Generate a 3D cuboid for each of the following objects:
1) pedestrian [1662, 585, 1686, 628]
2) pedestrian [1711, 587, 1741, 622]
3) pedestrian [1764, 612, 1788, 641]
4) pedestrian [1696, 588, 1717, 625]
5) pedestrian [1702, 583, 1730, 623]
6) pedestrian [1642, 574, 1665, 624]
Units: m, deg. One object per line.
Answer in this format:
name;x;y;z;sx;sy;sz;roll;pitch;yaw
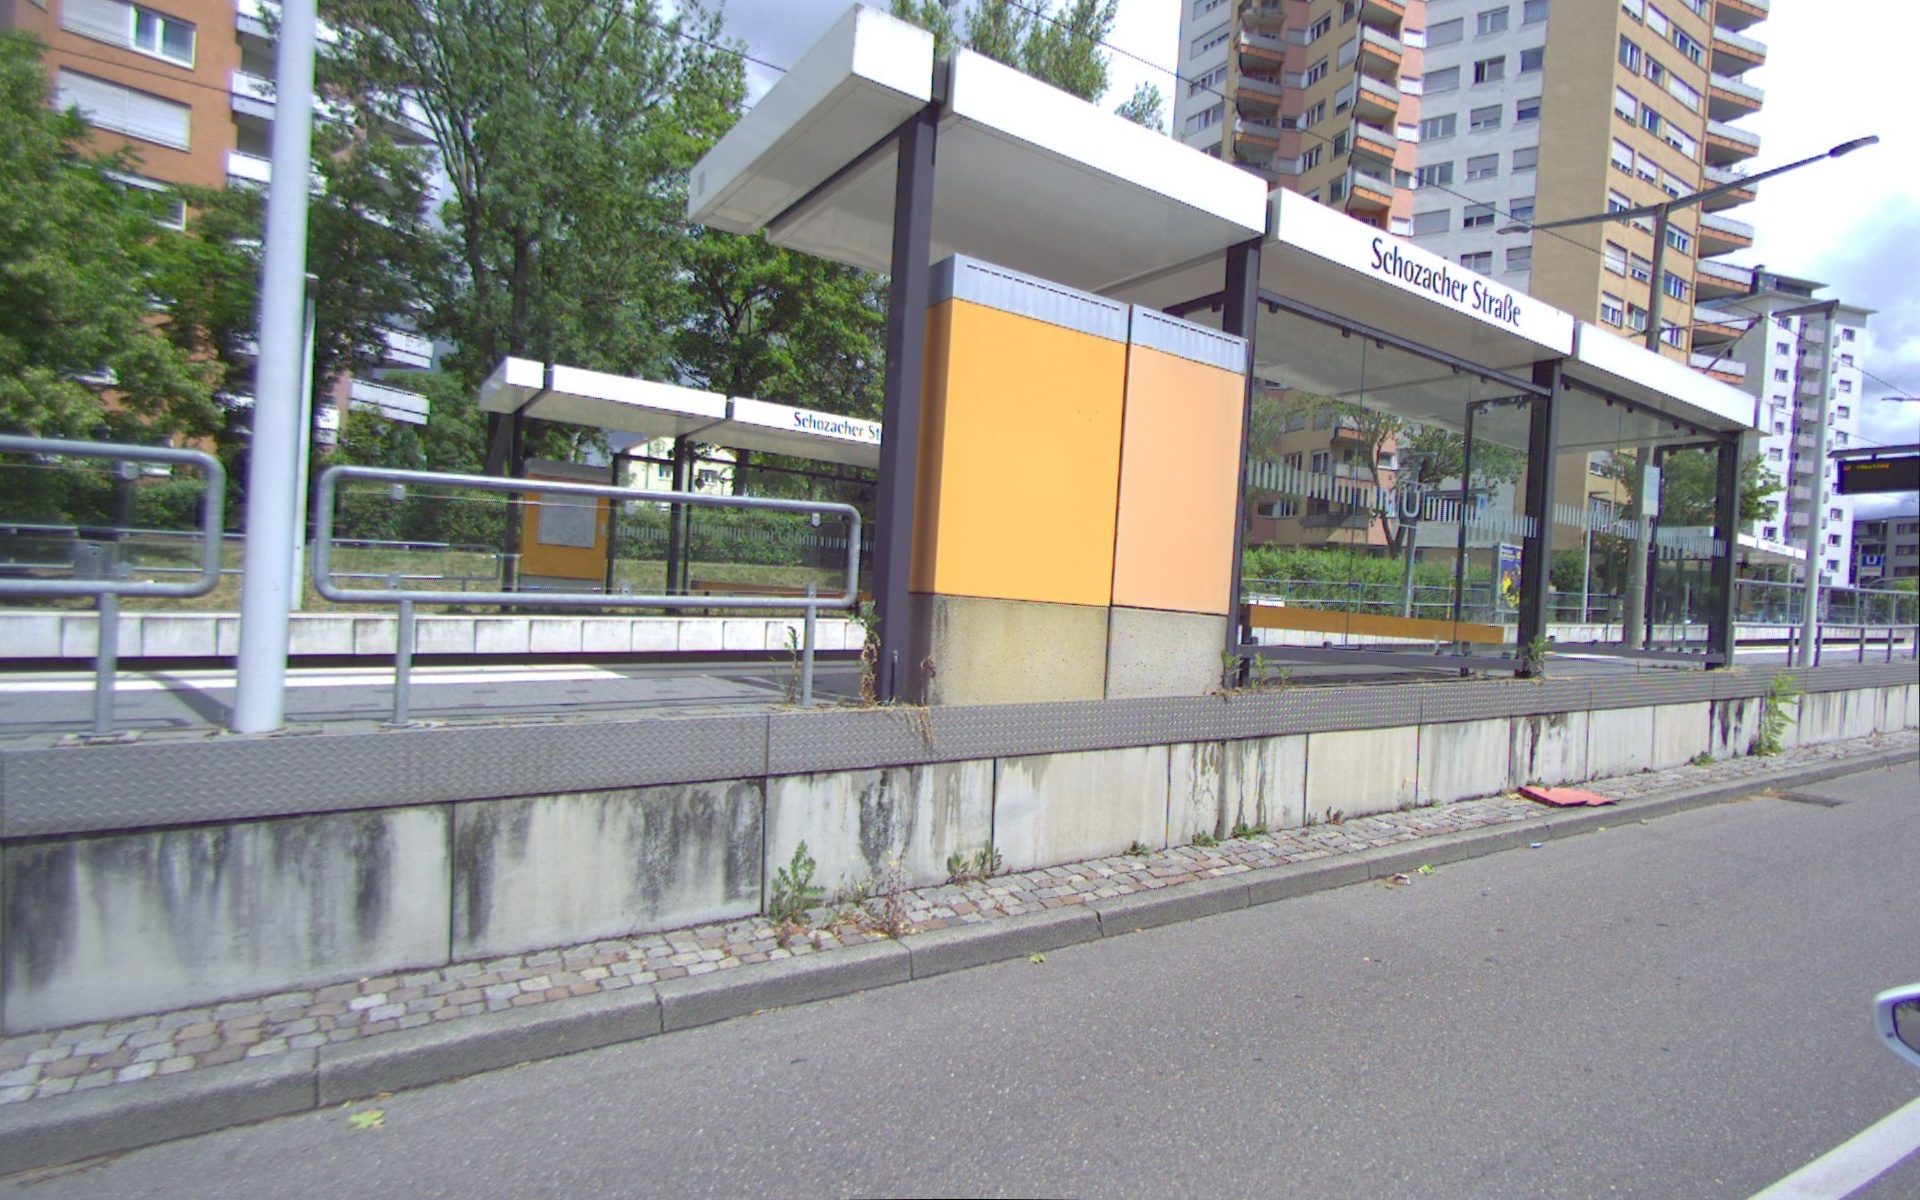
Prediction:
pedestrian;23.983;0.207;33.745;0.518;1.397;0.536;5;-3;-43
pedestrian;27.648;0.154;36.266;0.512;1.253;0.737;1;0;-34
pedestrian;49.382;1.590;60.768;0.679;1.719;0.856;2;0;-22
pedestrian;26.133;0.231;35.143;0.514;1.253;0.540;1;0;44
pedestrian;26.934;0.099;35.783;0.501;1.387;0.639;1;0;-34
pedestrian;23.110;-0.027;33.466;0.511;1.666;0.564;1;0;23
